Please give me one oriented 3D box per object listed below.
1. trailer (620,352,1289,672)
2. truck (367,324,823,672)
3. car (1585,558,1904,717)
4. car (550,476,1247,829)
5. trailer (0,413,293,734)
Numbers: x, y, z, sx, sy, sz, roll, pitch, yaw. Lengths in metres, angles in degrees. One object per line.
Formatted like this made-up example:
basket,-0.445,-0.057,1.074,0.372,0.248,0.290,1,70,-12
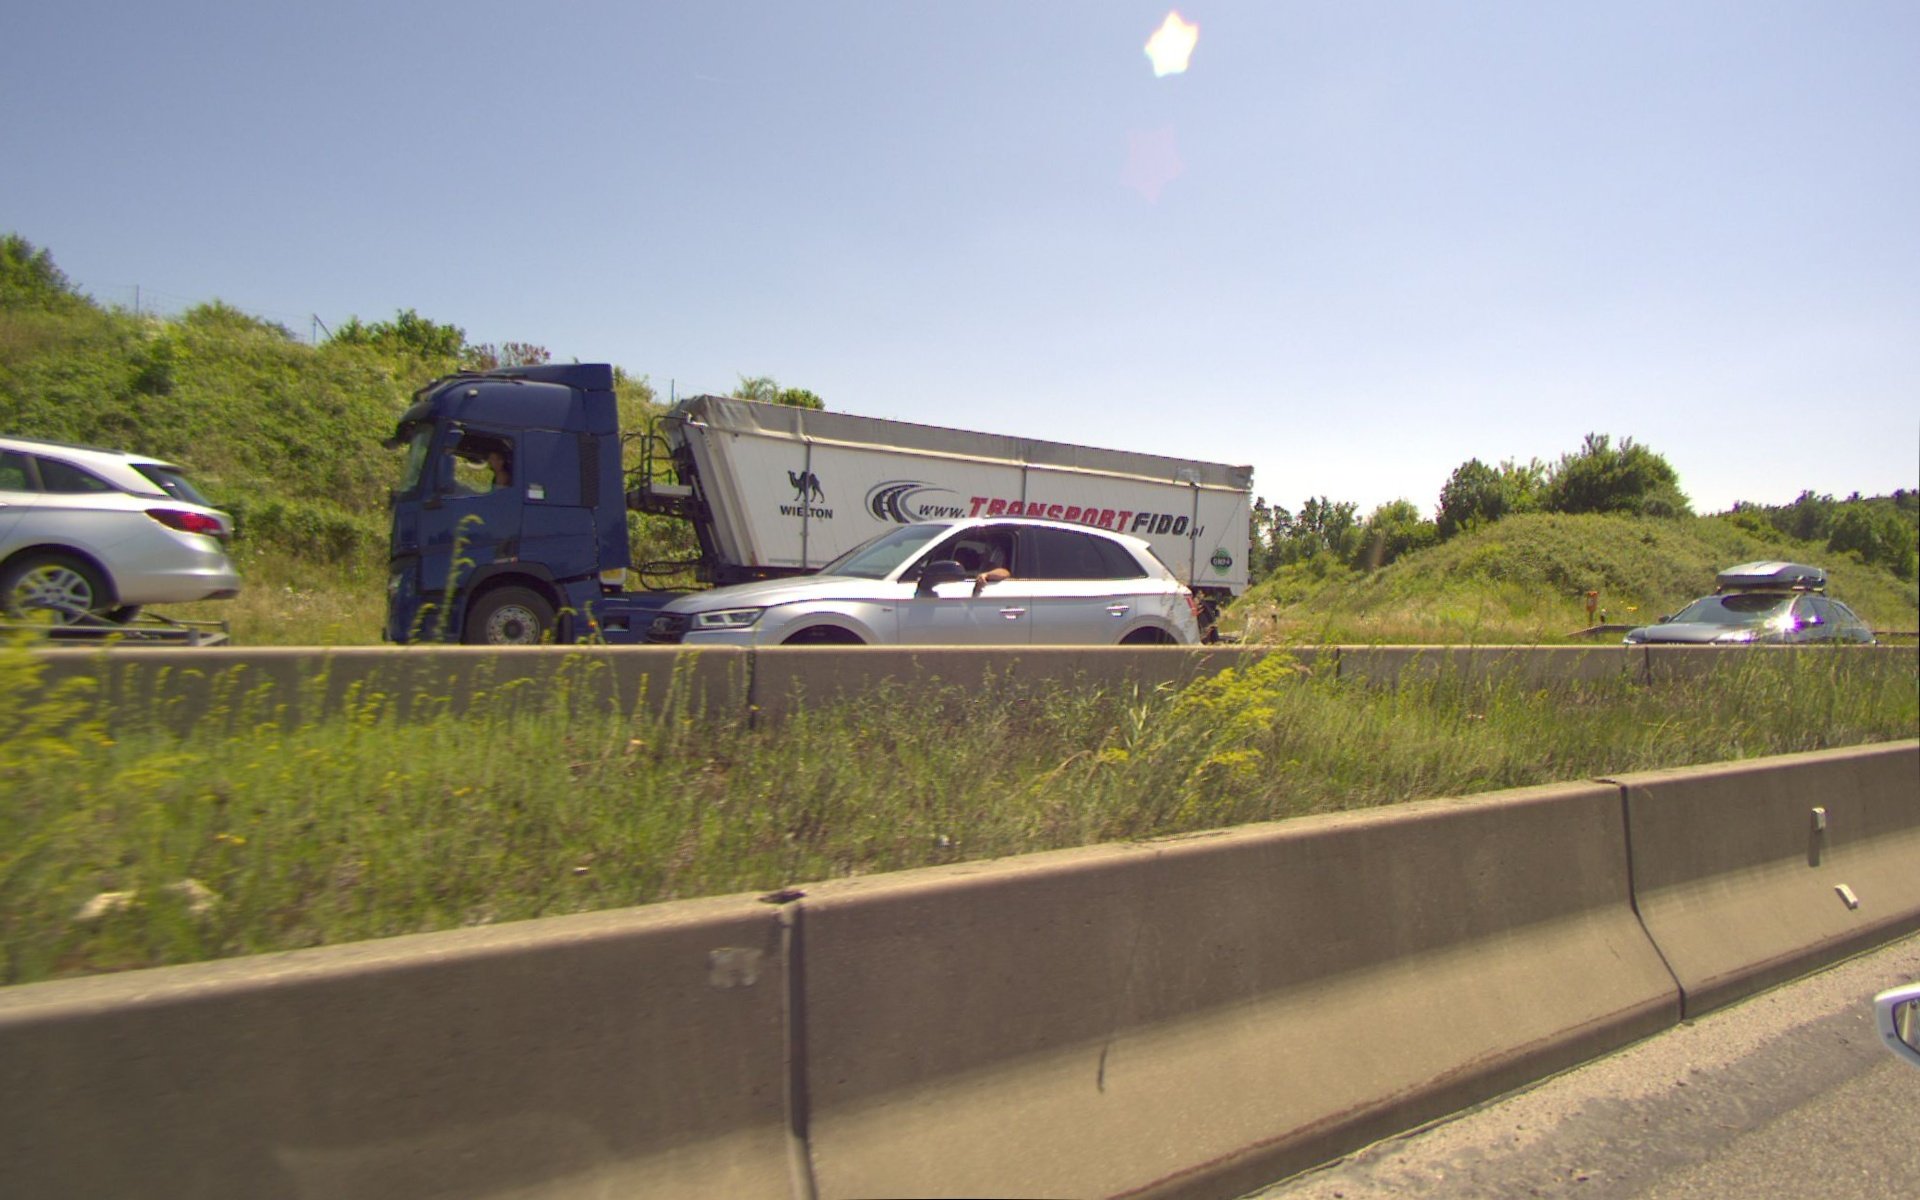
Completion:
trailer,0.357,-1.096,17.519,11.404,4.148,3.560,1,1,-31
truck,-5.158,-1.108,14.208,5.381,3.929,3.438,2,1,-30
car,12.068,0.534,15.375,5.103,2.041,1.983,2,3,-30
car,-0.355,0.314,7.953,5.103,2.041,1.983,2,3,-30
trailer,-8.071,-0.276,7.377,5.103,2.240,2.078,2,3,-30
